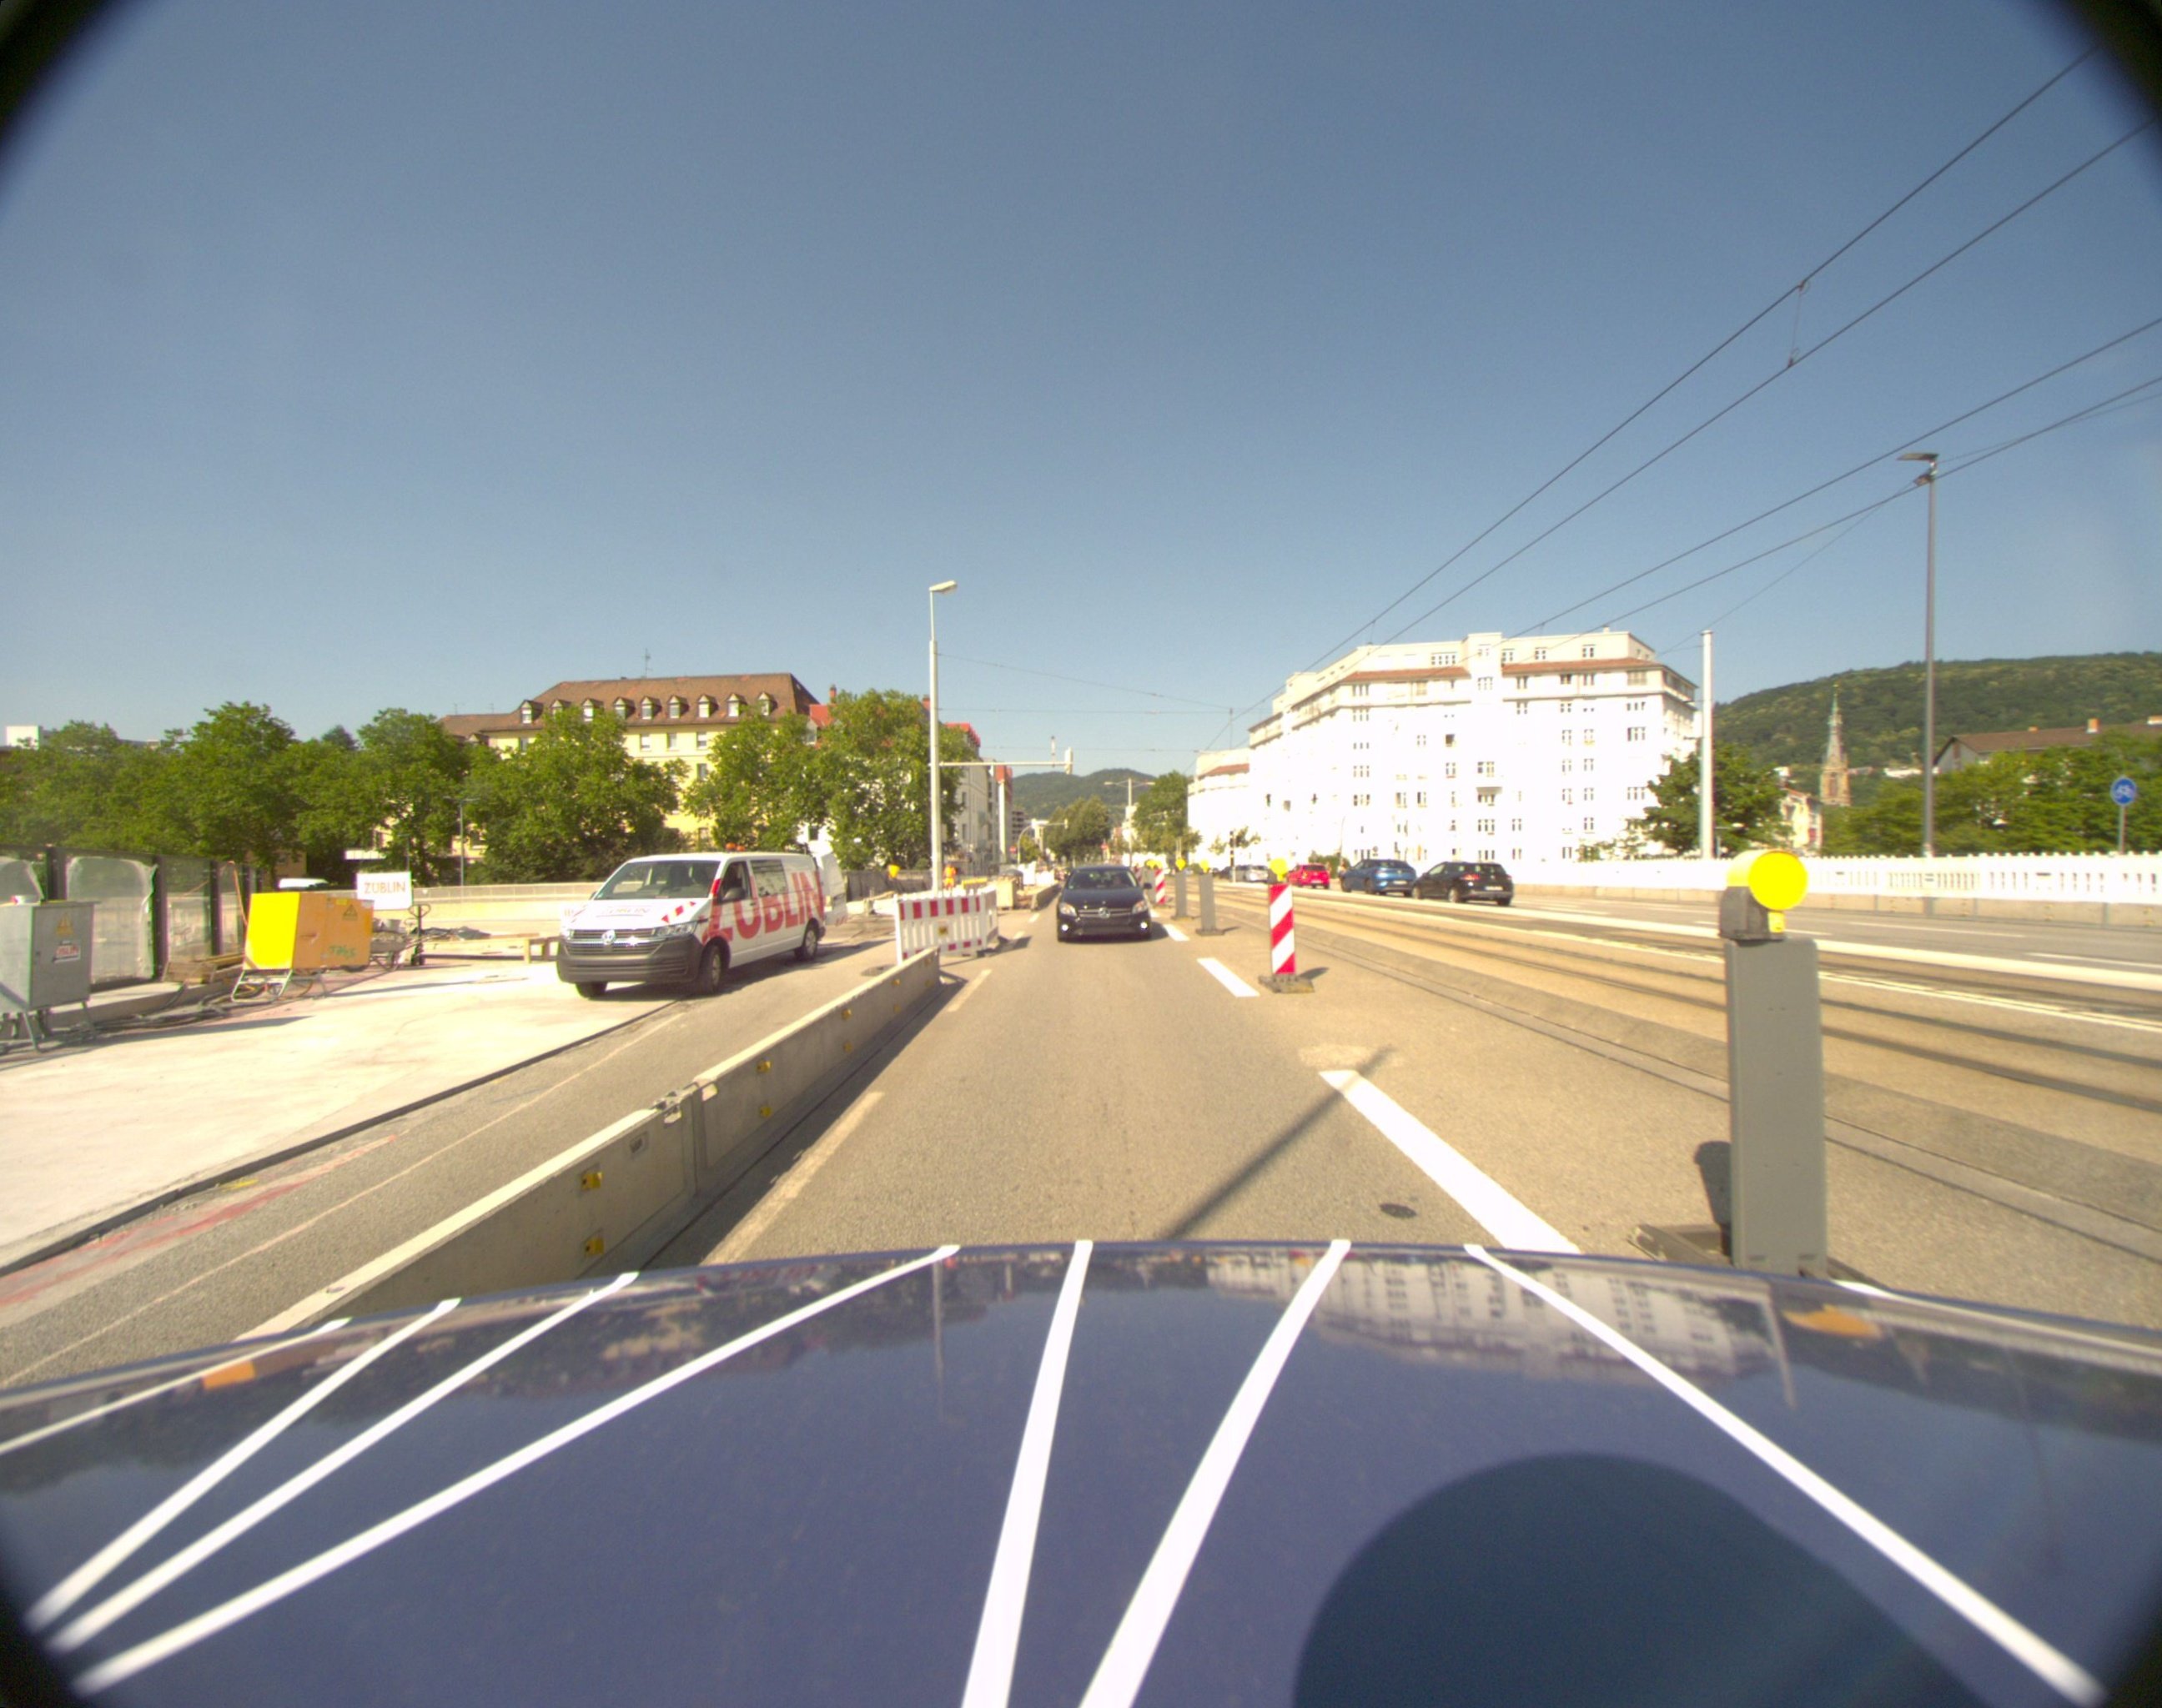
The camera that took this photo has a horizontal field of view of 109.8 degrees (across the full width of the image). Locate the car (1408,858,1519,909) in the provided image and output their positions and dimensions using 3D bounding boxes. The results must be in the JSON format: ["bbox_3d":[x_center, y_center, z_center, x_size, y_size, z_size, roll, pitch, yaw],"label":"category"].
[{"bbox_3d":[12.304,0.905,24.748,1.509,1.491,4.178,1,0,0],"label":"car"}]

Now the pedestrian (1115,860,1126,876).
[{"bbox_3d":[4.164,1.482,80.577,1.003,1.696,0.822,-1,1,-7],"label":"pedestrian"}]

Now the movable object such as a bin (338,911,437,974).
[{"bbox_3d":[-14.064,1.801,15.407,2.038,1.123,0.609,-5,1,23],"label":"movable object such as a bin"}]

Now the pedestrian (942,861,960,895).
[{"bbox_3d":[-6.912,1.292,40.411,0.821,1.784,0.864,1,0,0],"label":"pedestrian"}]

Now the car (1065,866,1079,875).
[{"bbox_3d":[-1.324,2.467,112.756,1.768,1.346,3.998,-2,-1,-6],"label":"car"}]

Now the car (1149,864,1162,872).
[{"bbox_3d":[13.705,2.531,140.046,1.740,1.475,3.739,-1,-1,-5],"label":"car"}]

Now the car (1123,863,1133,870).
[{"bbox_3d":[10.610,2.749,171.932,1.740,1.475,3.739,-1,-1,-5],"label":"car"}]

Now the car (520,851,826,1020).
[{"bbox_3d":[-5.845,1.000,11.788,1.883,2.021,4.891,-2,0,2],"label":"car"}]

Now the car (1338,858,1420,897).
[{"bbox_3d":[12.392,0.932,31.889,1.674,1.541,4.556,0,0,0],"label":"car"}]

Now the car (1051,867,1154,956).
[{"bbox_3d":[0.482,1.017,15.227,1.702,1.399,4.624,-3,-1,3],"label":"car"}]

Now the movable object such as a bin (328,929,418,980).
[{"bbox_3d":[-13.200,1.850,14.178,0.754,0.837,1.107,-1,-4,40],"label":"movable object such as a bin"}]

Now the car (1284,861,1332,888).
[{"bbox_3d":[13.031,1.127,43.735,1.537,1.428,3.980,2,0,0],"label":"car"}]

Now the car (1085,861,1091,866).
[{"bbox_3d":[2.413,3.418,260.305,1.798,1.672,3.740,-1,-1,-3],"label":"car"}]

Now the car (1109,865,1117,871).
[{"bbox_3d":[8.451,3.674,199.759,1.739,1.475,3.740,0,-1,-3],"label":"car"}]

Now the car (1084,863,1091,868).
[{"bbox_3d":[1.869,3.261,220.333,1.798,1.475,3.740,-1,-1,-3],"label":"car"}]

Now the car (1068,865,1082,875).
[{"bbox_3d":[-0.837,2.244,105.439,1.767,1.346,3.999,-2,-1,-4],"label":"car"}]

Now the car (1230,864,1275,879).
[{"bbox_3d":[16.885,1.672,74.972,1.705,1.403,4.475,0,0,-30],"label":"car"}]

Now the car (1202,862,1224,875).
[{"bbox_3d":[17.263,1.893,99.431,1.740,1.628,3.738,-1,-1,-7],"label":"car"}]

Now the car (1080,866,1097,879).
[{"bbox_3d":[0.855,2.050,85.556,1.766,1.313,4.001,-2,-1,1],"label":"car"}]

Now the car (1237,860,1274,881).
[{"bbox_3d":[12.697,1.193,55.437,1.642,1.428,4.644,1,-1,0],"label":"car"}]

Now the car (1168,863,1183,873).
[{"bbox_3d":[14.890,2.151,119.881,1.740,1.475,3.739,-1,-1,-5],"label":"car"}]

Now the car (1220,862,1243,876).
[{"bbox_3d":[17.978,1.768,90.862,1.740,1.628,3.739,-1,-1,-5],"label":"car"}]
